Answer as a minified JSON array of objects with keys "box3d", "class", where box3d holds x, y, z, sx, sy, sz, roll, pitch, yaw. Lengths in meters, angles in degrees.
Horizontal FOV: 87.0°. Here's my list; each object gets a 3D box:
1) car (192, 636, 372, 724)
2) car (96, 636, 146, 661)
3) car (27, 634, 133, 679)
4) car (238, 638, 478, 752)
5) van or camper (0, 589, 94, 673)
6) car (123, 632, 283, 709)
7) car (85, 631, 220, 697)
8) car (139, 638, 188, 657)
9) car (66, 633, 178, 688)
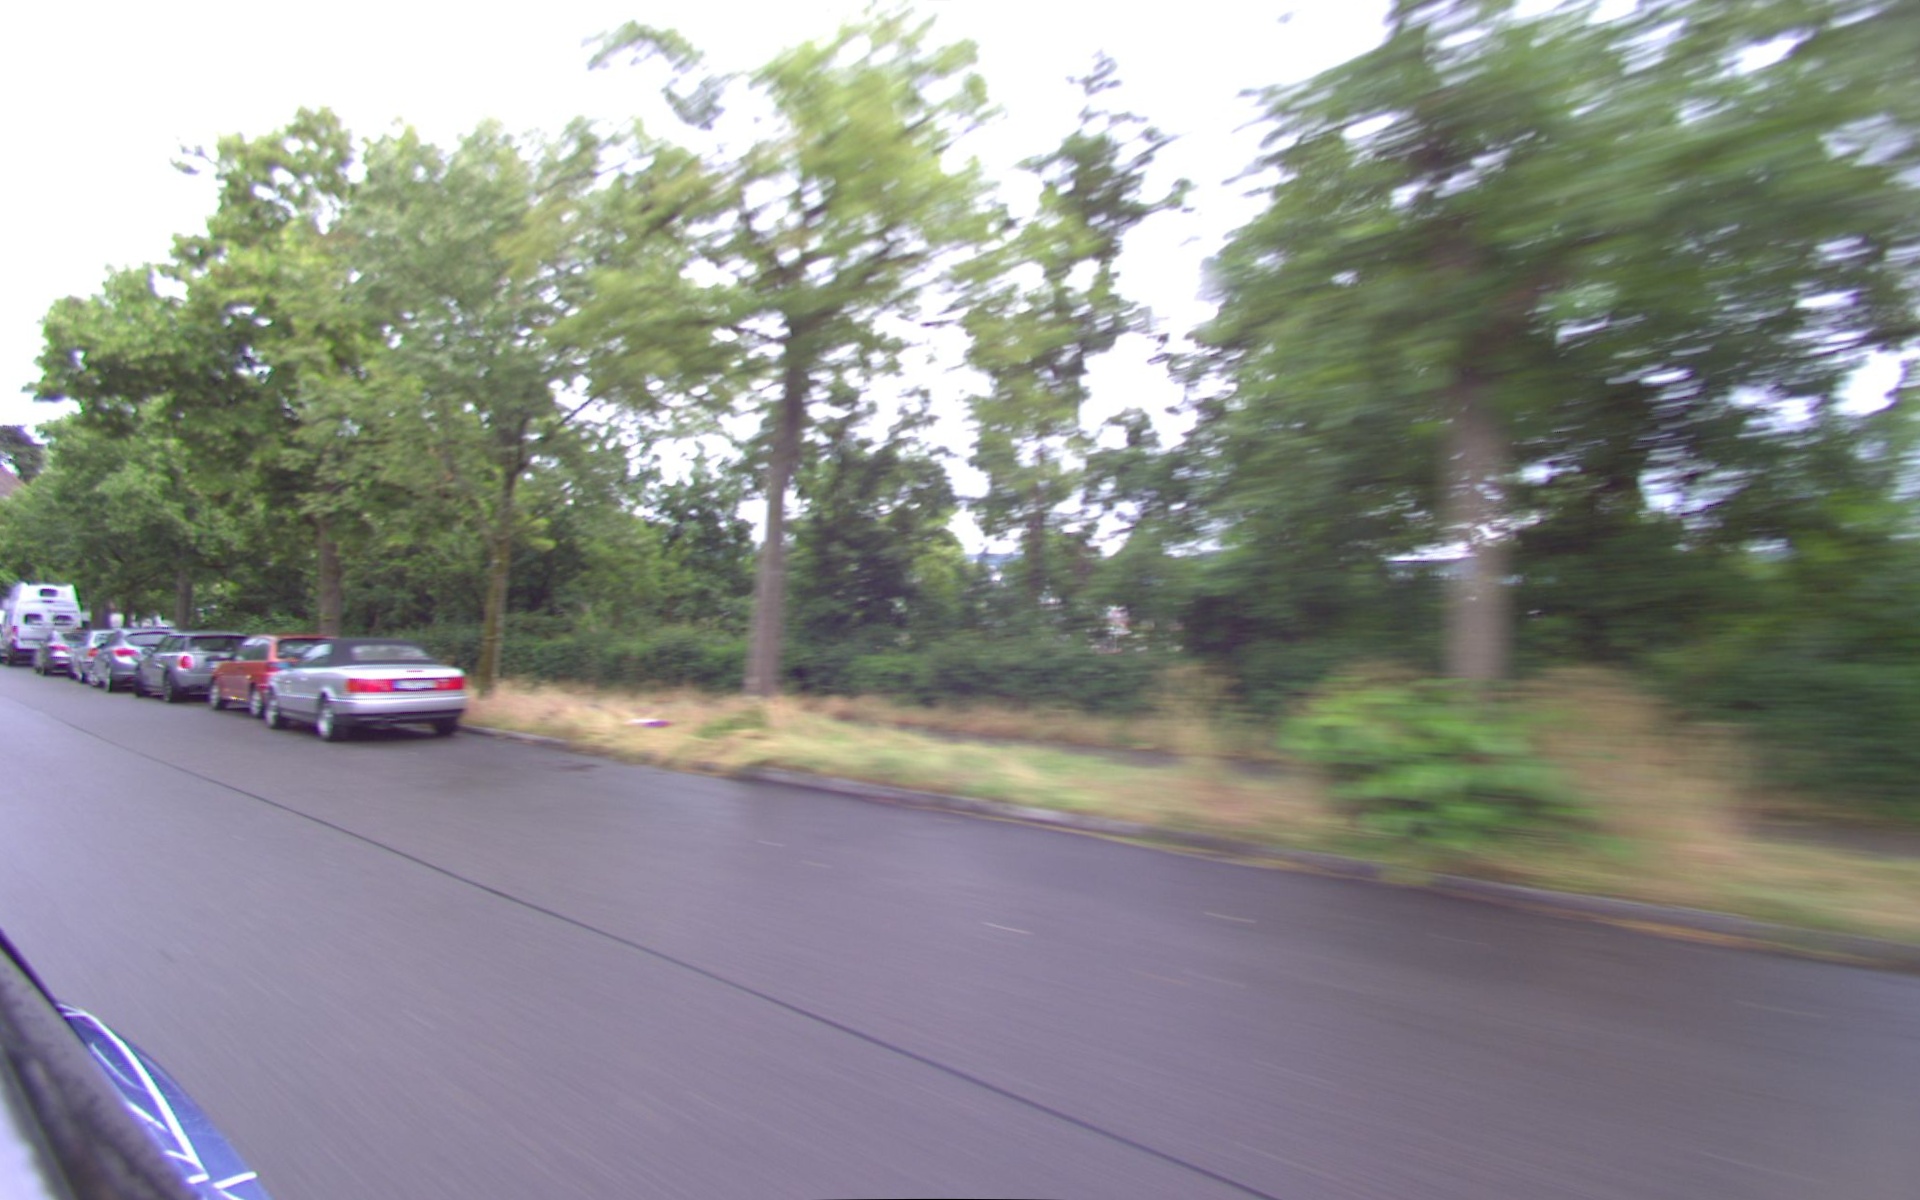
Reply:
[{"box3d":[-12.255,1.357,18.220,3.997,1.372,1.579,-1,-2,39],"class":"car"},{"box3d":[-58.723,3.372,70.927,1.660,1.521,4.219,5,-3,-26],"class":"car"},{"box3d":[-28.211,1.804,32.381,5.355,1.319,1.971,-3,-5,43],"class":"car"},{"box3d":[-8.884,1.280,14.778,4.417,1.413,1.736,-2,-4,42],"class":"car"},{"box3d":[-36.125,1.193,39.610,6.560,3.050,2.478,-1,-3,42],"class":"van or camper"},{"box3d":[-16.281,1.442,21.669,4.715,1.416,1.971,-1,-3,44],"class":"car"},{"box3d":[-20.039,1.528,25.028,4.715,1.416,1.971,-1,-3,44],"class":"car"},{"box3d":[-63.713,3.806,81.049,1.632,1.440,4.388,3,-4,-18],"class":"car"},{"box3d":[-23.551,1.687,28.367,1.970,1.416,4.716,4,-5,-44],"class":"car"}]
